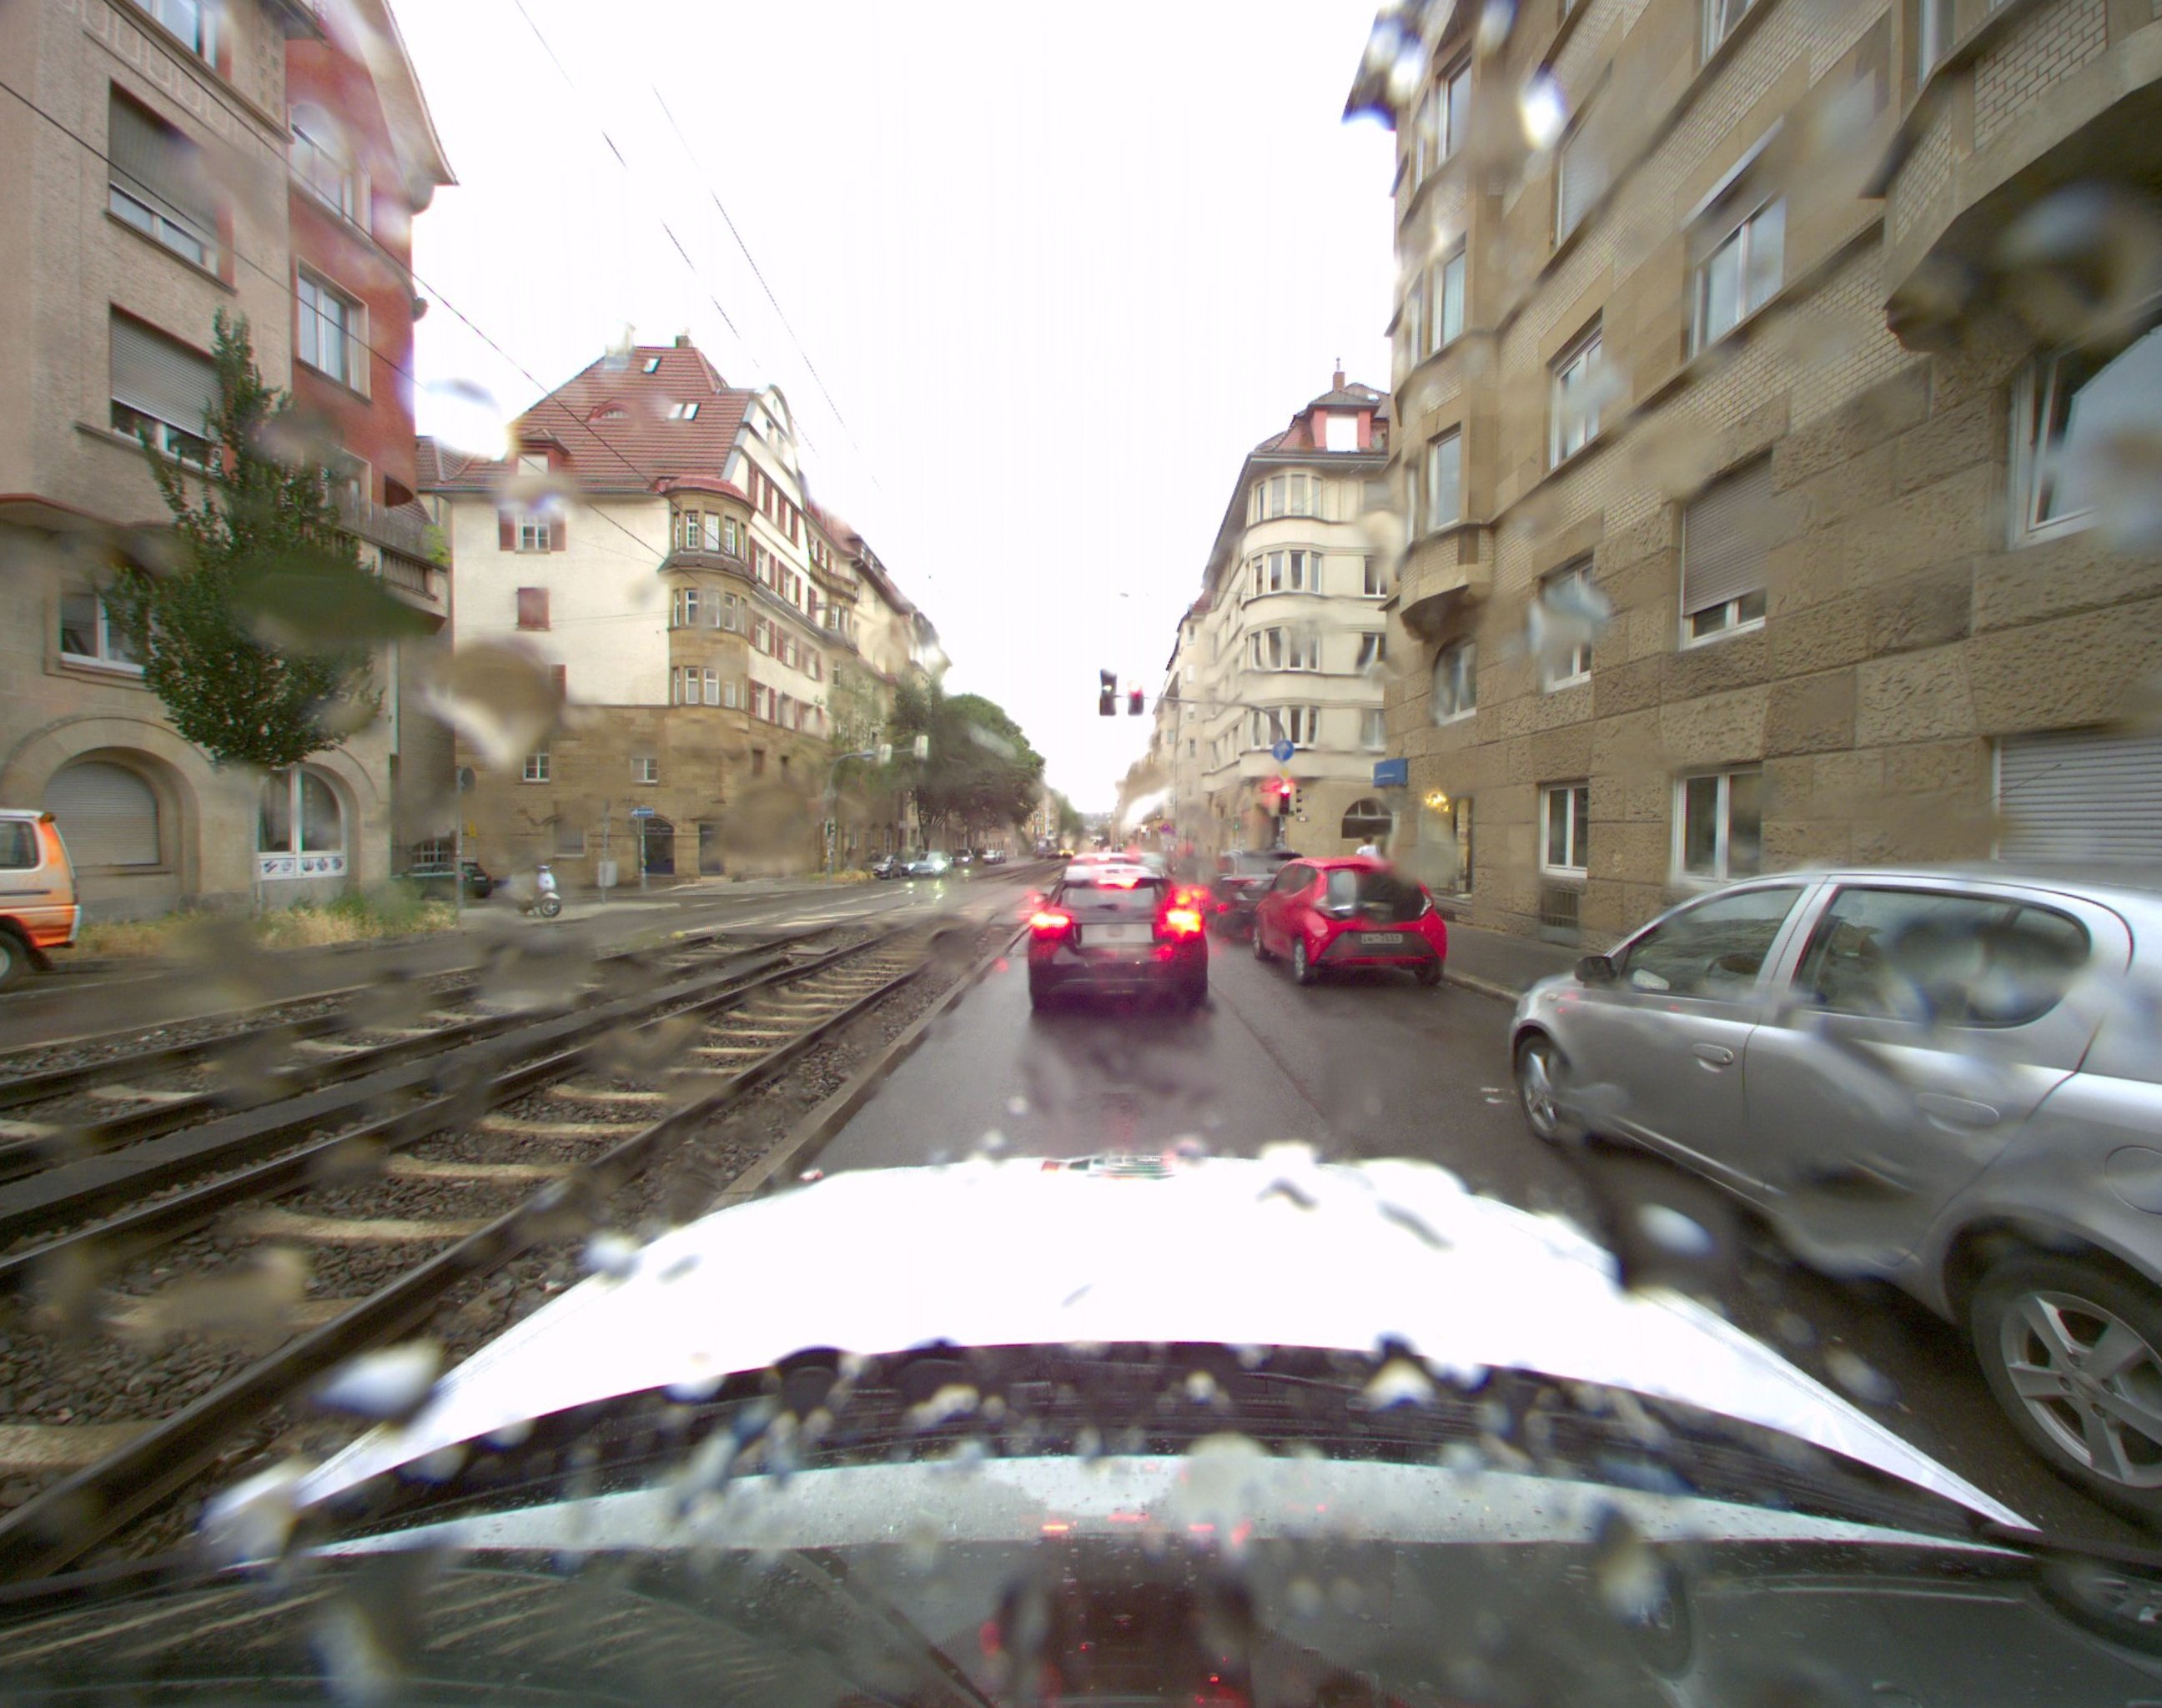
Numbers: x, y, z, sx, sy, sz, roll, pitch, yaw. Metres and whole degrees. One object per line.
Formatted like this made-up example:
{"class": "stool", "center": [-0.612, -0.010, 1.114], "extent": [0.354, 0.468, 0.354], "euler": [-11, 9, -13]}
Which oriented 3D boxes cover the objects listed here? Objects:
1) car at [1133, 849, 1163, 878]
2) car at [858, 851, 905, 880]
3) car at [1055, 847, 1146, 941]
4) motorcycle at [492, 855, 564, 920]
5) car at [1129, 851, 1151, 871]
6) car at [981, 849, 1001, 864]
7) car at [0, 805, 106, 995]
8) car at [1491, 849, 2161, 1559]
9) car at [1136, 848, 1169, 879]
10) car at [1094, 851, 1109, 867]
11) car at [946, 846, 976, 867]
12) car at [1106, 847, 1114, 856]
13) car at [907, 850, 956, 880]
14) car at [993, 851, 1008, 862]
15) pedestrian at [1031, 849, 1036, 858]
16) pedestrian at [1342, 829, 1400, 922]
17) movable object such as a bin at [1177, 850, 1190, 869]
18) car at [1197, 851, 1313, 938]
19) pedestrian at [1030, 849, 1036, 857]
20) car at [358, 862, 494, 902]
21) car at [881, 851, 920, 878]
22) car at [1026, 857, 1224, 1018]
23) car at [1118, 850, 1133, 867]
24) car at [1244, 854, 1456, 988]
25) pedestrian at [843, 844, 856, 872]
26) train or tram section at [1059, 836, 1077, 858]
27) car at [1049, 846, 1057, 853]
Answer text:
{"class": "car", "center": [3.845, 0.525, 47.176], "extent": [1.539, 1.590, 3.549], "euler": [0, 0, 2]}
{"class": "car", "center": [-11.252, 0.645, 46.118], "extent": [1.747, 1.552, 4.033], "euler": [0, -1, -2]}
{"class": "car", "center": [0.394, 0.699, 15.959], "extent": [1.559, 1.609, 3.815], "euler": [0, -1, 2]}
{"class": "motorcycle", "center": [-12.065, 0.715, 17.767], "extent": [1.577, 1.365, 0.628], "euler": [-1, -1, 28]}
{"class": "car", "center": [4.419, 0.529, 61.583], "extent": [1.539, 1.486, 3.549], "euler": [0, 0, 2]}
{"class": "car", "center": [-9.862, 0.314, 89.598], "extent": [1.583, 1.581, 3.920], "euler": [0, -1, 2]}
{"class": "car", "center": [-12.121, 0.472, 7.211], "extent": [1.725, 1.975, 4.341], "euler": [0, -1, 0]}
{"class": "car", "center": [3.147, 0.739, 3.100], "extent": [1.608, 1.467, 3.314], "euler": [-2, 0, 3]}
{"class": "car", "center": [3.704, 0.482, 42.701], "extent": [1.539, 1.590, 3.549], "euler": [0, 0, 2]}
{"class": "car", "center": [2.142, 0.493, 84.460], "extent": [1.538, 1.636, 3.688], "euler": [0, 0, 3]}
{"class": "car", "center": [-10.592, 0.221, 72.140], "extent": [1.868, 1.737, 3.920], "euler": [0, -1, 2]}
{"class": "car", "center": [6.955, -0.597, 195.445], "extent": [1.986, 1.876, 4.001], "euler": [0, -1, 2]}
{"class": "car", "center": [-8.267, 0.585, 45.432], "extent": [1.891, 1.588, 3.974], "euler": [0, -1, 2]}
{"class": "car", "center": [-9.791, 0.301, 99.014], "extent": [1.443, 1.331, 3.271], "euler": [0, -1, 0]}
{"class": "pedestrian", "center": [-10.662, -0.157, 183.017], "extent": [1.049, 1.957, 1.043], "euler": [1, 0, 3]}
{"class": "pedestrian", "center": [5.646, 0.415, 15.897], "extent": [0.739, 1.748, 1.111], "euler": [0, -1, 2]}
{"class": "movable object such as a bin", "center": [7.477, 0.422, 59.556], "extent": [0.873, 1.389, 0.984], "euler": [-1, -1, 5]}
{"class": "car", "center": [3.245, 0.687, 15.810], "extent": [1.539, 1.486, 3.831], "euler": [0, 0, 2]}
{"class": "pedestrian", "center": [-10.722, -0.214, 181.925], "extent": [1.049, 1.957, 1.043], "euler": [1, 0, 3]}
{"class": "car", "center": [-24.382, 1.019, 30.410], "extent": [3.633, 1.404, 1.699], "euler": [0, -1, -3]}
{"class": "car", "center": [-11.283, 0.651, 51.153], "extent": [1.713, 1.611, 3.914], "euler": [0, -1, -3]}
{"class": "car", "center": [0.468, 0.780, 9.564], "extent": [1.822, 1.458, 4.105], "euler": [0, 0, 2]}
{"class": "car", "center": [4.030, 0.404, 73.674], "extent": [1.289, 1.442, 2.930], "euler": [0, 0, 2]}
{"class": "car", "center": [3.278, 0.733, 10.565], "extent": [1.637, 1.448, 3.298], "euler": [0, 0, -1]}
{"class": "pedestrian", "center": [-14.016, 0.253, 49.266], "extent": [0.630, 1.672, 0.701], "euler": [0, -1, -7]}
{"class": "train or tram section", "center": [-2.438, -1.254, 153.501], "extent": [2.772, 3.861, 10.433], "euler": [0, -1, 2]}
{"class": "car", "center": [-5.267, -0.876, 152.927], "extent": [1.372, 1.249, 3.297], "euler": [0, -1, 0]}
